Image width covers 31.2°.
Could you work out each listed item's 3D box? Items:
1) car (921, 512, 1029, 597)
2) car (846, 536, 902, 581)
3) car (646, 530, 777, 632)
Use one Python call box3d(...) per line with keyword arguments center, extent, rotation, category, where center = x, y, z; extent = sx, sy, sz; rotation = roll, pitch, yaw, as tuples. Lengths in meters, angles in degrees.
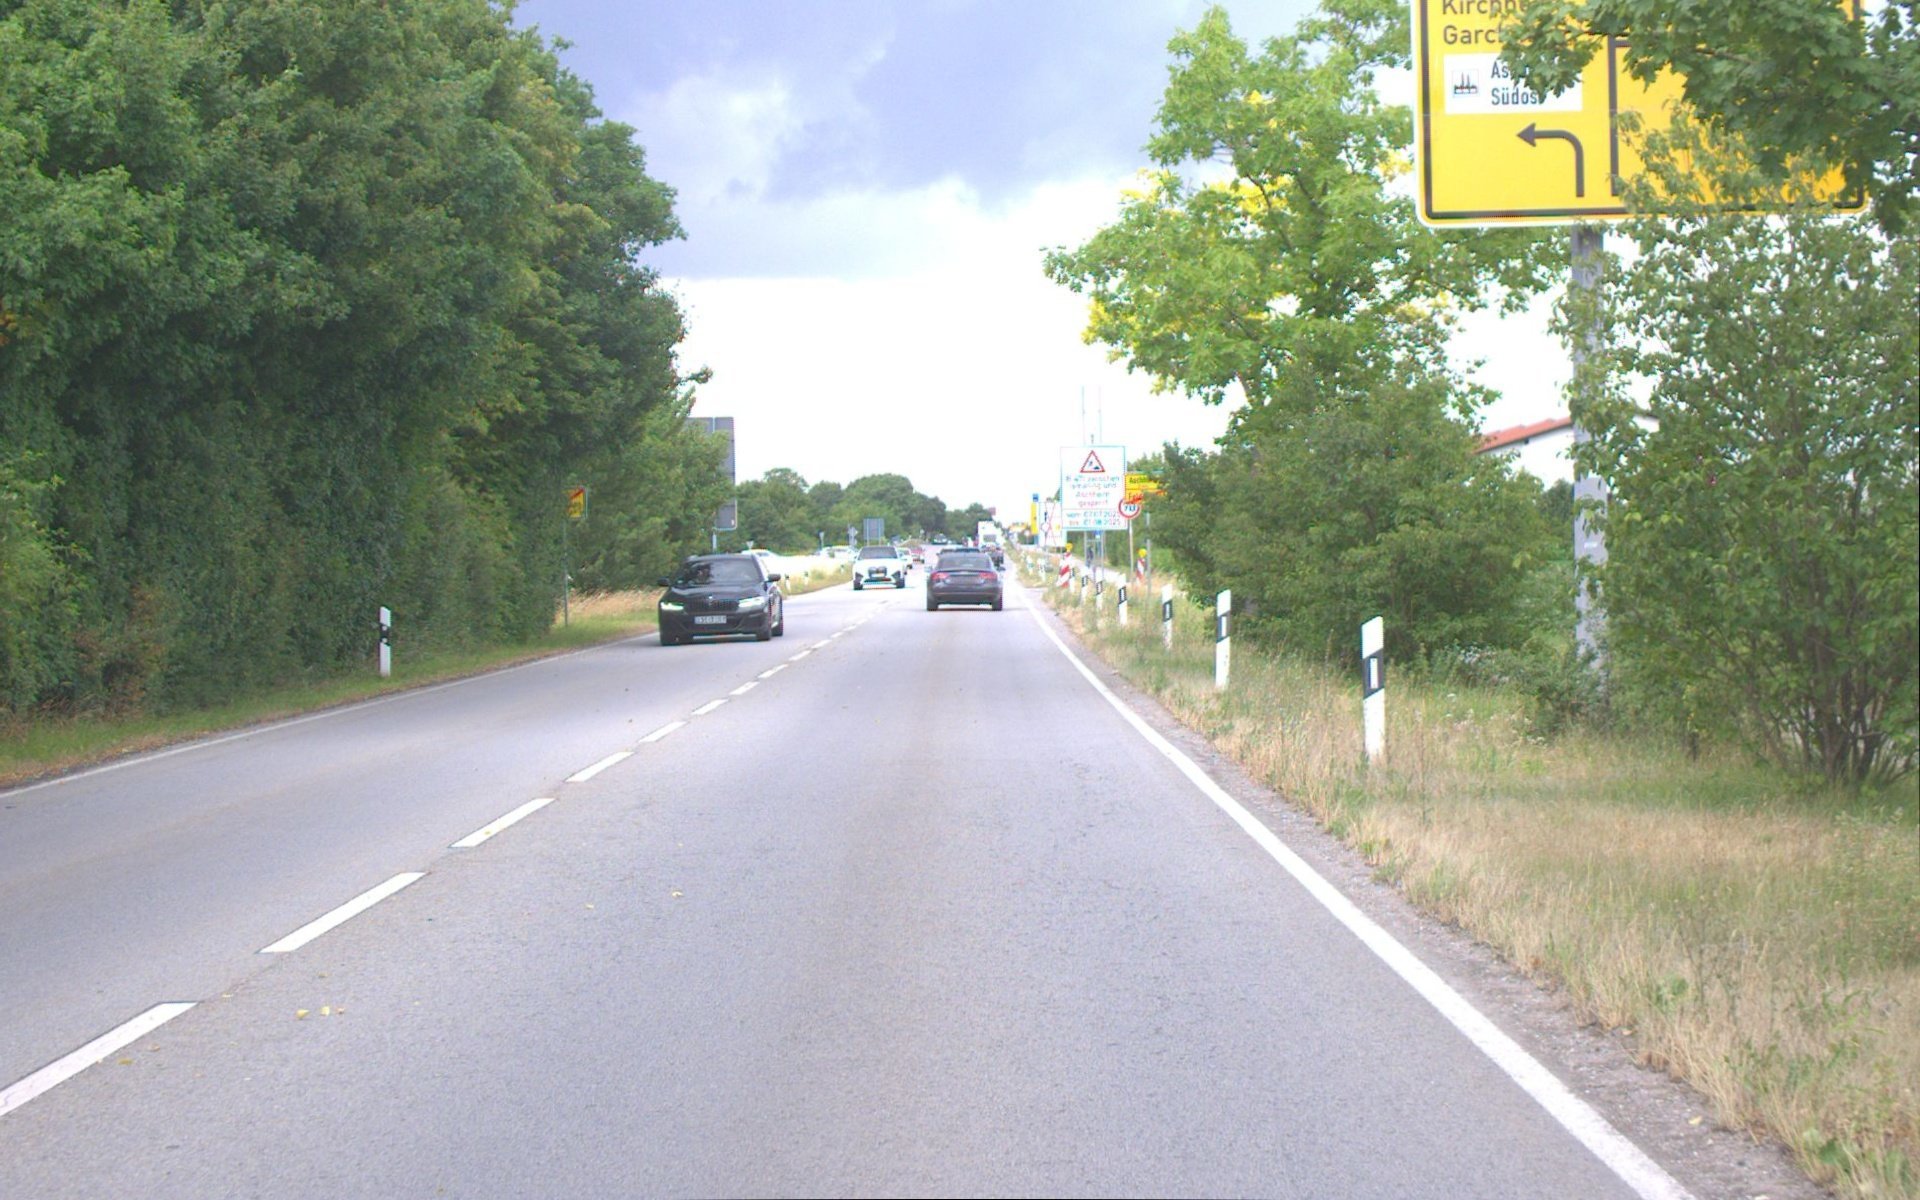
box3d(center=(0.335, -1.112, 83.628), extent=(2.372, 1.874, 4.478), rotation=(-3, 1, -2), category="car")
box3d(center=(-3.363, -1.641, 134.761), extent=(1.993, 1.678, 4.810), rotation=(-2, 1, 1), category="car")
box3d(center=(-4.184, -0.344, 58.500), extent=(1.940, 1.580, 4.556), rotation=(-3, 1, -2), category="car")
